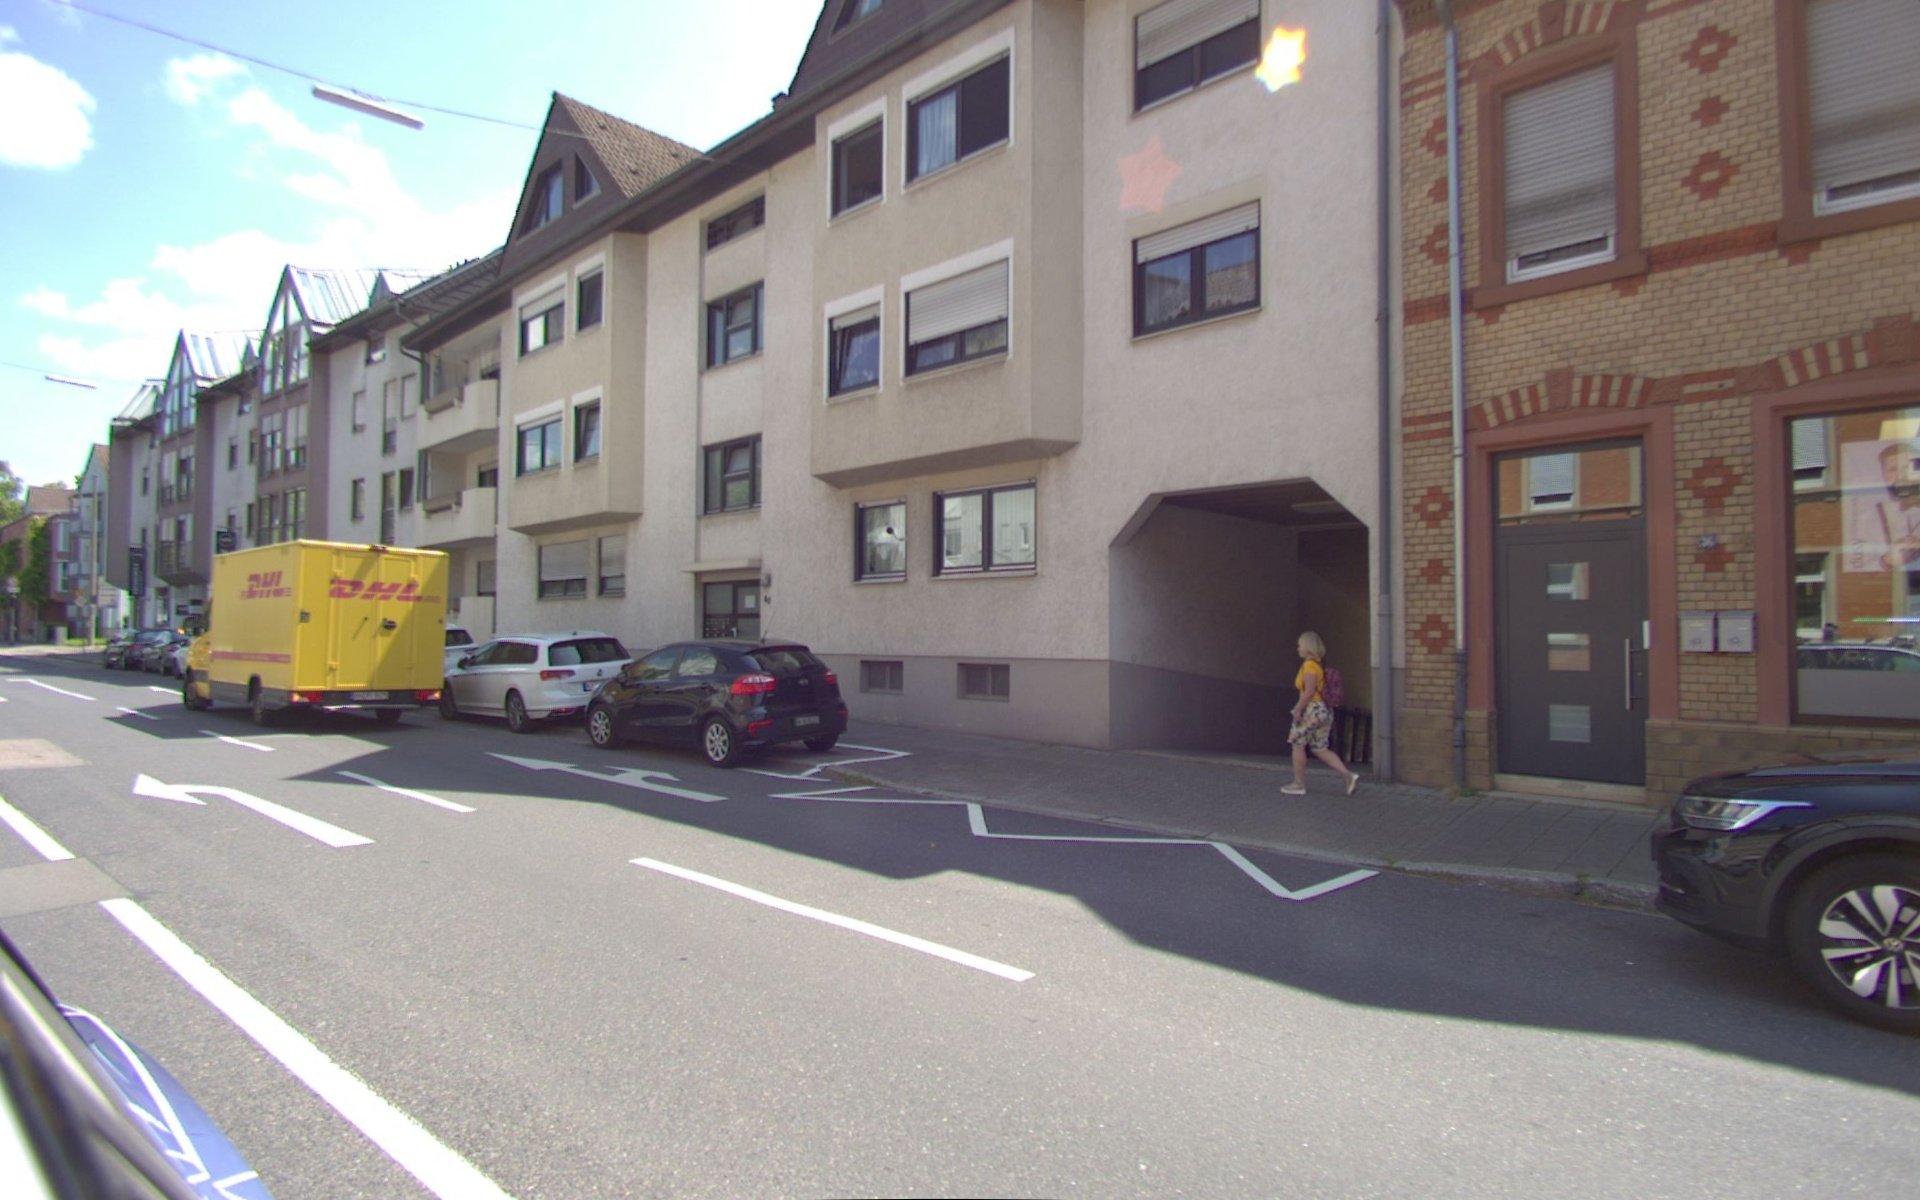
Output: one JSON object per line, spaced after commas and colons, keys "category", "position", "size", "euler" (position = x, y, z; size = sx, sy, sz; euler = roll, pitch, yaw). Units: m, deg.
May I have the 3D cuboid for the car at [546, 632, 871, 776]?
{"category": "car", "position": [-3.390, 1.192, 13.134], "size": [4.499, 1.499, 1.821], "euler": [-1, -1, 40]}

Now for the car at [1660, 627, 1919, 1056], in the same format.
{"category": "car", "position": [5.306, 0.958, 3.548], "size": [4.501, 1.609, 1.820], "euler": [-1, -5, 42]}

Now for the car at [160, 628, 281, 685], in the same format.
{"category": "car", "position": [-21.543, 1.575, 29.422], "size": [4.382, 1.500, 1.821], "euler": [-1, -1, 39]}

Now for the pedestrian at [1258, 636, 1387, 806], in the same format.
{"category": "pedestrian", "position": [3.411, 1.094, 9.553], "size": [0.971, 1.506, 0.601], "euler": [-2, -3, 43]}

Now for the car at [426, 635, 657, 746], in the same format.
{"category": "car", "position": [-6.944, 1.362, 16.577], "size": [4.386, 1.499, 1.820], "euler": [-1, -1, 42]}

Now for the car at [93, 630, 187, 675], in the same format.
{"category": "car", "position": [-29.339, 1.833, 36.158], "size": [4.967, 1.458, 1.820], "euler": [-1, -1, 42]}

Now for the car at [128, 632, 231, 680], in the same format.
{"category": "car", "position": [-25.465, 1.769, 32.972], "size": [4.324, 1.394, 1.821], "euler": [-1, -1, 41]}

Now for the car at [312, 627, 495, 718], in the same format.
{"category": "car", "position": [-11.363, 1.379, 20.552], "size": [4.383, 1.608, 1.821], "euler": [-1, -1, 40]}

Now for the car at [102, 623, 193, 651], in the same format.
{"category": "car", "position": [-48.485, 2.185, 60.419], "size": [1.731, 1.463, 3.949], "euler": [-3, -1, 38]}

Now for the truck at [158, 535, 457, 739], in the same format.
{"category": "truck", "position": [-11.312, 0.656, 17.188], "size": [7.561, 2.792, 2.202], "euler": [-2, -5, 42]}
